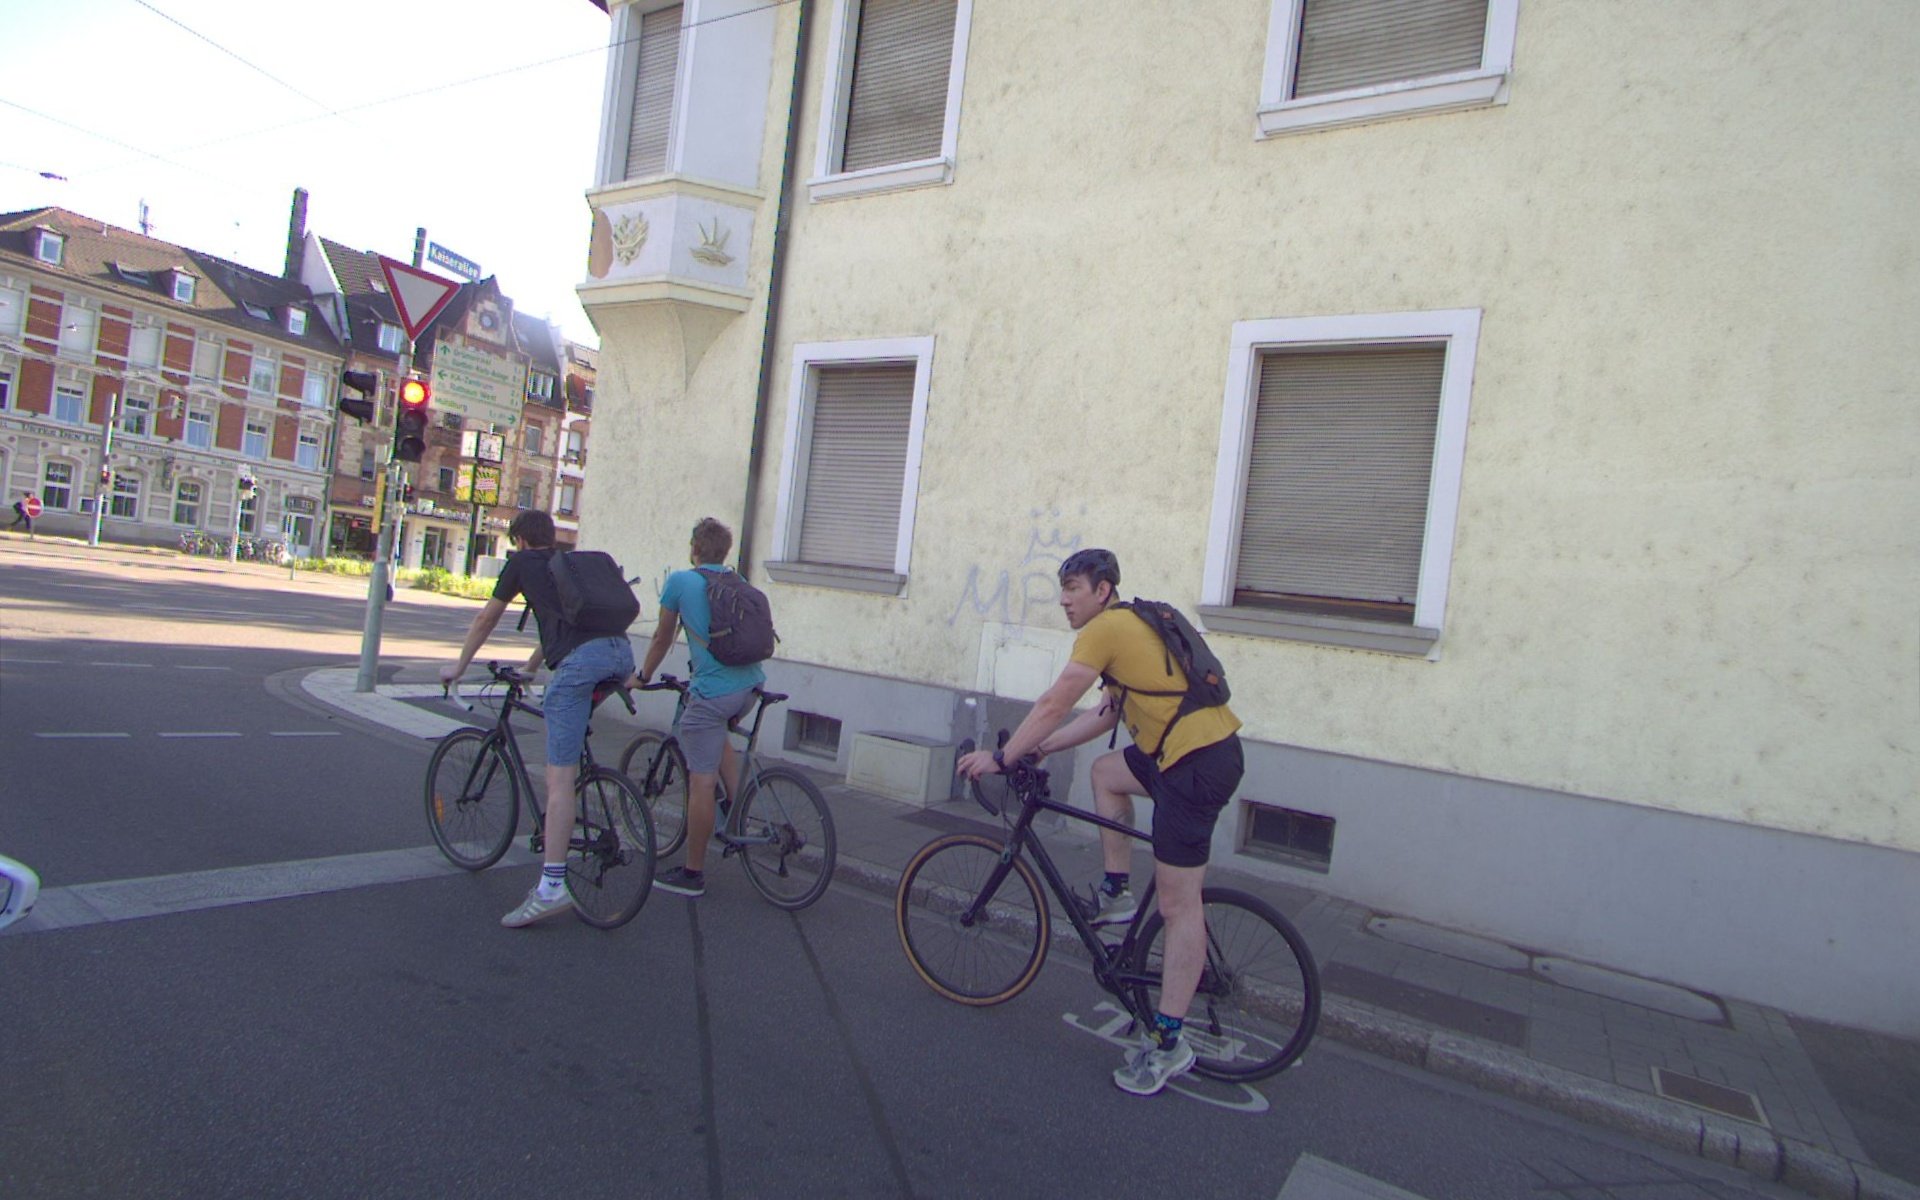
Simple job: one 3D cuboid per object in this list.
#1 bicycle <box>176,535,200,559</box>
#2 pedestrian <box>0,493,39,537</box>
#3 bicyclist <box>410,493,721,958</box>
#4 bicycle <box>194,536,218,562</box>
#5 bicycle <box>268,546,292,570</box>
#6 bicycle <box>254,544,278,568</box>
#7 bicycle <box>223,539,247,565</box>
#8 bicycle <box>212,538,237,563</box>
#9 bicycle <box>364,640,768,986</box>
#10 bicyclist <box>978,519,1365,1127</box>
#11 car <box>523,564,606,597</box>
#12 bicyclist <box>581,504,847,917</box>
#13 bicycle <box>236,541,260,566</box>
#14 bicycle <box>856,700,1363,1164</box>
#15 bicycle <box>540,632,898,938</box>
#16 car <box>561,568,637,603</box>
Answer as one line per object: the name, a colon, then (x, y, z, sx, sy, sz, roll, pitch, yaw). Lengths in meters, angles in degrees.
bicycle: (-35.066, -2.420, 45.667, 1.759, 0.925, 0.485, 7, 0, 42)
pedestrian: (-40.278, -3.633, 43.059, 0.620, 1.731, 1.035, 6, -1, 40)
bicyclist: (-1.752, 0.491, 4.471, 0.978, 1.788, 0.652, 7, 0, 32)
bicycle: (-34.641, -2.346, 46.203, 1.759, 1.033, 0.485, 7, 0, 42)
bicycle: (-33.093, -2.064, 48.980, 1.759, 1.033, 0.485, 7, 0, 42)
bicycle: (-33.312, -2.120, 48.292, 1.759, 1.033, 0.485, 7, 0, 42)
bicycle: (-34.003, -2.256, 47.172, 1.759, 1.033, 0.485, 7, 0, 42)
bicycle: (-34.190, -2.298, 46.749, 1.759, 1.033, 0.485, 7, 0, 42)
bicycle: (-1.801, 0.835, 4.469, 1.858, 1.071, 0.571, 7, 0, 32)
bicyclist: (0.770, 0.696, 3.658, 1.019, 1.839, 0.652, 7, 0, 32)
car: (-22.330, -1.108, 56.892, 1.694, 1.316, 4.066, 7, -1, 32)
bicyclist: (-1.288, 0.523, 5.272, 0.978, 1.910, 0.652, 7, 0, 32)
bicycle: (-33.675, -2.197, 47.564, 1.759, 1.033, 0.485, 7, 0, 42)
bicycle: (0.511, 1.090, 3.774, 1.670, 1.180, 0.571, 7, 0, 32)
bicycle: (-1.311, 0.877, 5.282, 1.858, 1.180, 0.571, 7, 0, 32)
car: (-23.302, -0.912, 65.099, 1.966, 1.641, 4.261, 7, -1, 29)
